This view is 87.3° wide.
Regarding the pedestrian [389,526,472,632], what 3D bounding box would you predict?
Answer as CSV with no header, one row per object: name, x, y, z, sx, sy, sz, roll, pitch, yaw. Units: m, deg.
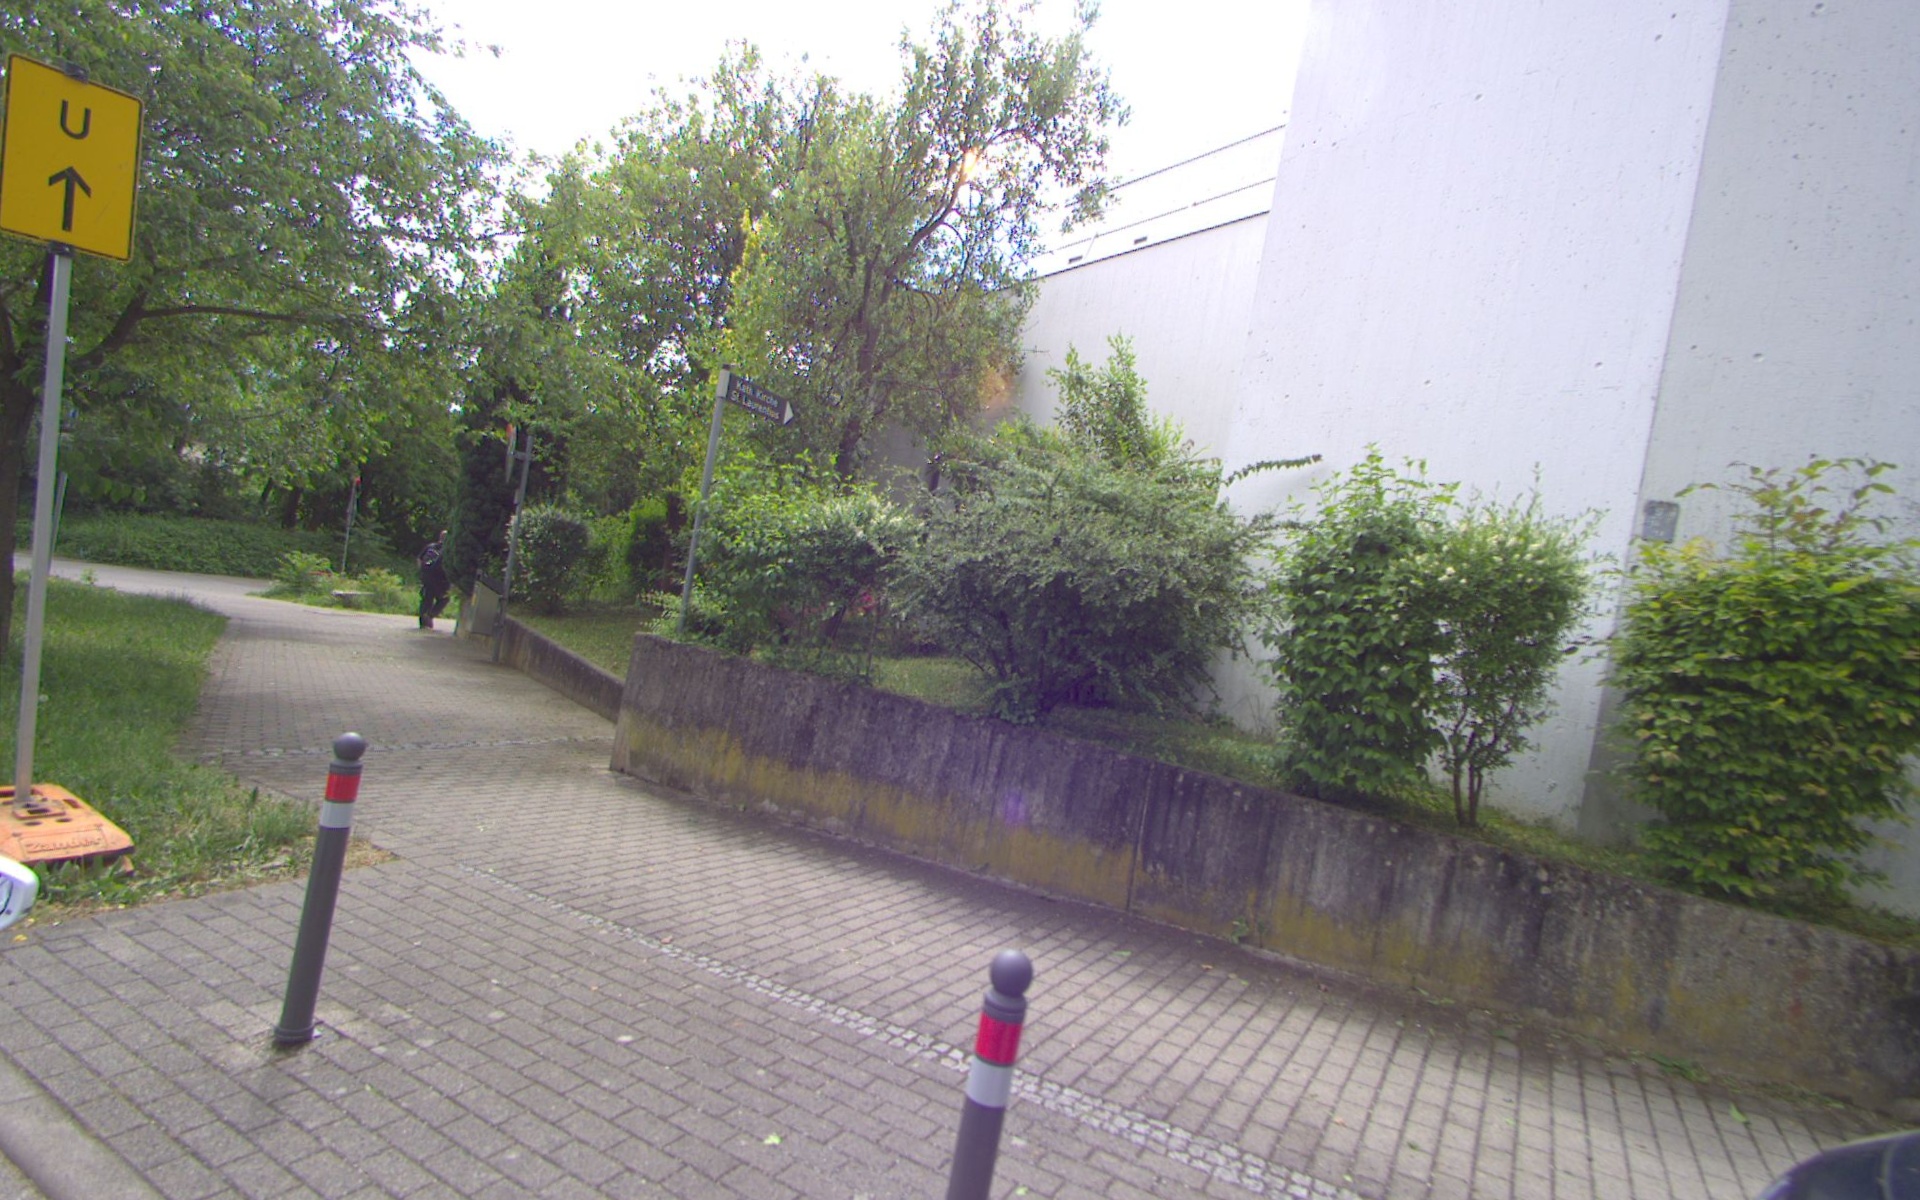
pedestrian,-9.498,-0.366,18.055,0.772,1.757,0.834,7,-1,27

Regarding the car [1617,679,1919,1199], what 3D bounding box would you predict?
car,2.758,1.061,0.488,3.933,1.437,1.694,7,-1,31
